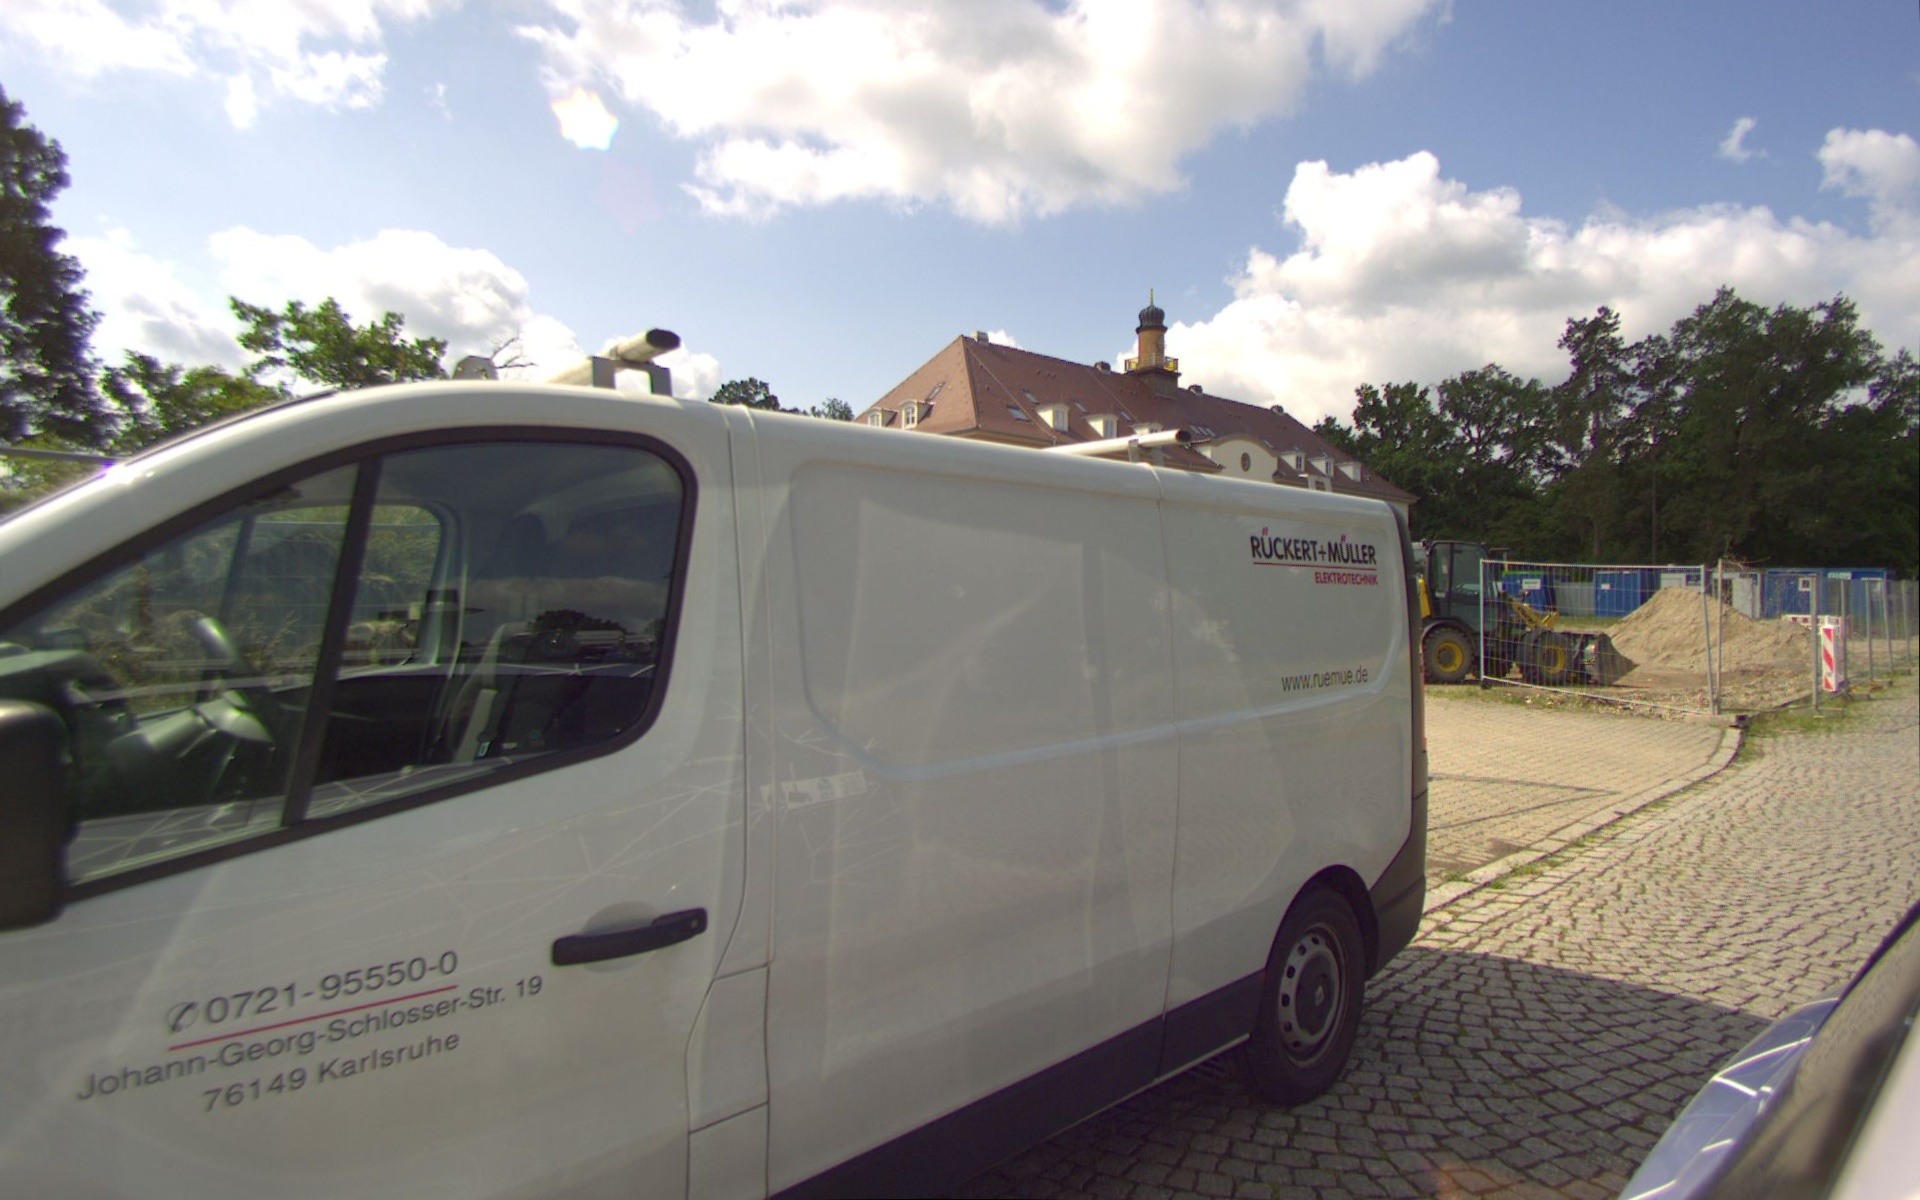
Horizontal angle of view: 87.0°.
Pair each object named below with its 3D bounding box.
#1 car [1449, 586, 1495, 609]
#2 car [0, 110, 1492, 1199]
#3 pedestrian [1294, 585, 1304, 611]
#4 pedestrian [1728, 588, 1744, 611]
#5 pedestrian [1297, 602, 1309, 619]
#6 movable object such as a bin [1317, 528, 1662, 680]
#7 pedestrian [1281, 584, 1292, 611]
[{"bbox_3d":[39.171,-0.222,77.436,3.969,1.704,1.801,0,1,-41],"label":"car"},{"bbox_3d":[-0.758,0.479,2.651,5.579,2.079,1.917,0,1,-41],"label":"car"},{"bbox_3d":[23.095,-0.146,69.025,0.498,1.810,0.490,1,-1,-44],"label":"pedestrian"},{"bbox_3d":[43.217,-0.036,56.377,0.671,1.259,0.601,1,-1,-43],"label":"pedestrian"},{"bbox_3d":[22.698,0.698,66.969,0.698,1.128,0.490,1,-1,-43],"label":"pedestrian"},{"bbox_3d":[9.745,0.099,18.756,5.537,2.553,2.154,1,0,-13],"label":"movable object such as a bin"},{"bbox_3d":[21.966,-0.140,68.141,0.496,1.810,0.492,0,-1,-19],"label":"pedestrian"}]
